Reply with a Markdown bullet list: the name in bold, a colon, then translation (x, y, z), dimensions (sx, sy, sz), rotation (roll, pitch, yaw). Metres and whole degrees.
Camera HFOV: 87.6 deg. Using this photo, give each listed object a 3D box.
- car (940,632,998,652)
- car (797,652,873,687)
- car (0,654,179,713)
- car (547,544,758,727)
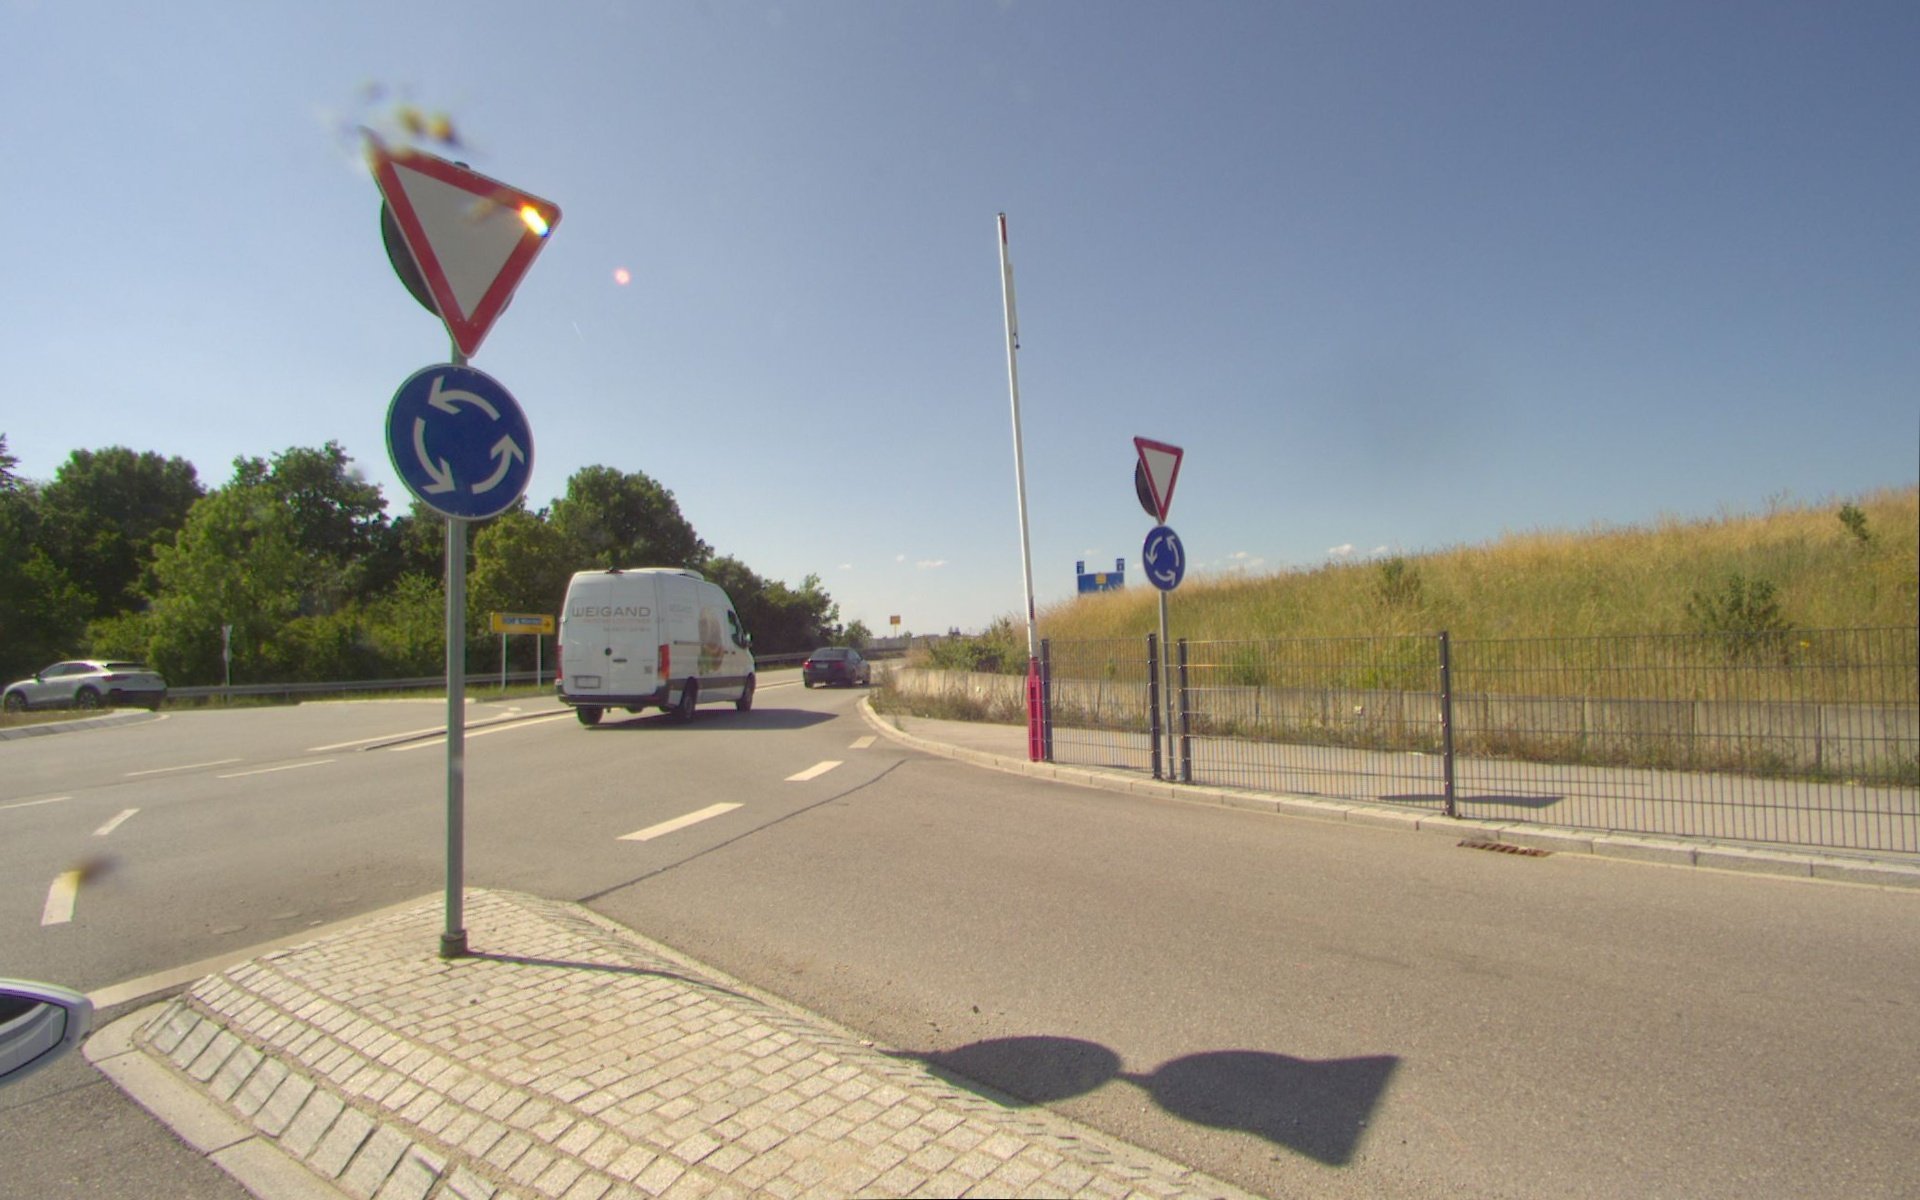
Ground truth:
- **car**: translation (0.678, 3.016, 72.015), dimensions (1.771, 1.422, 4.385), rotation (-2, -3, 39)
- **car**: translation (-4.553, 2.527, 37.024), dimensions (1.645, 1.197, 3.865), rotation (-1, -3, 12)
- **car**: translation (-25.390, 2.414, 29.221), dimensions (4.244, 1.616, 1.847), rotation (-1, -2, 13)
- **car**: translation (-5.628, 0.725, 19.365), dimensions (2.044, 2.957, 6.143), rotation (-1, -3, 2)
